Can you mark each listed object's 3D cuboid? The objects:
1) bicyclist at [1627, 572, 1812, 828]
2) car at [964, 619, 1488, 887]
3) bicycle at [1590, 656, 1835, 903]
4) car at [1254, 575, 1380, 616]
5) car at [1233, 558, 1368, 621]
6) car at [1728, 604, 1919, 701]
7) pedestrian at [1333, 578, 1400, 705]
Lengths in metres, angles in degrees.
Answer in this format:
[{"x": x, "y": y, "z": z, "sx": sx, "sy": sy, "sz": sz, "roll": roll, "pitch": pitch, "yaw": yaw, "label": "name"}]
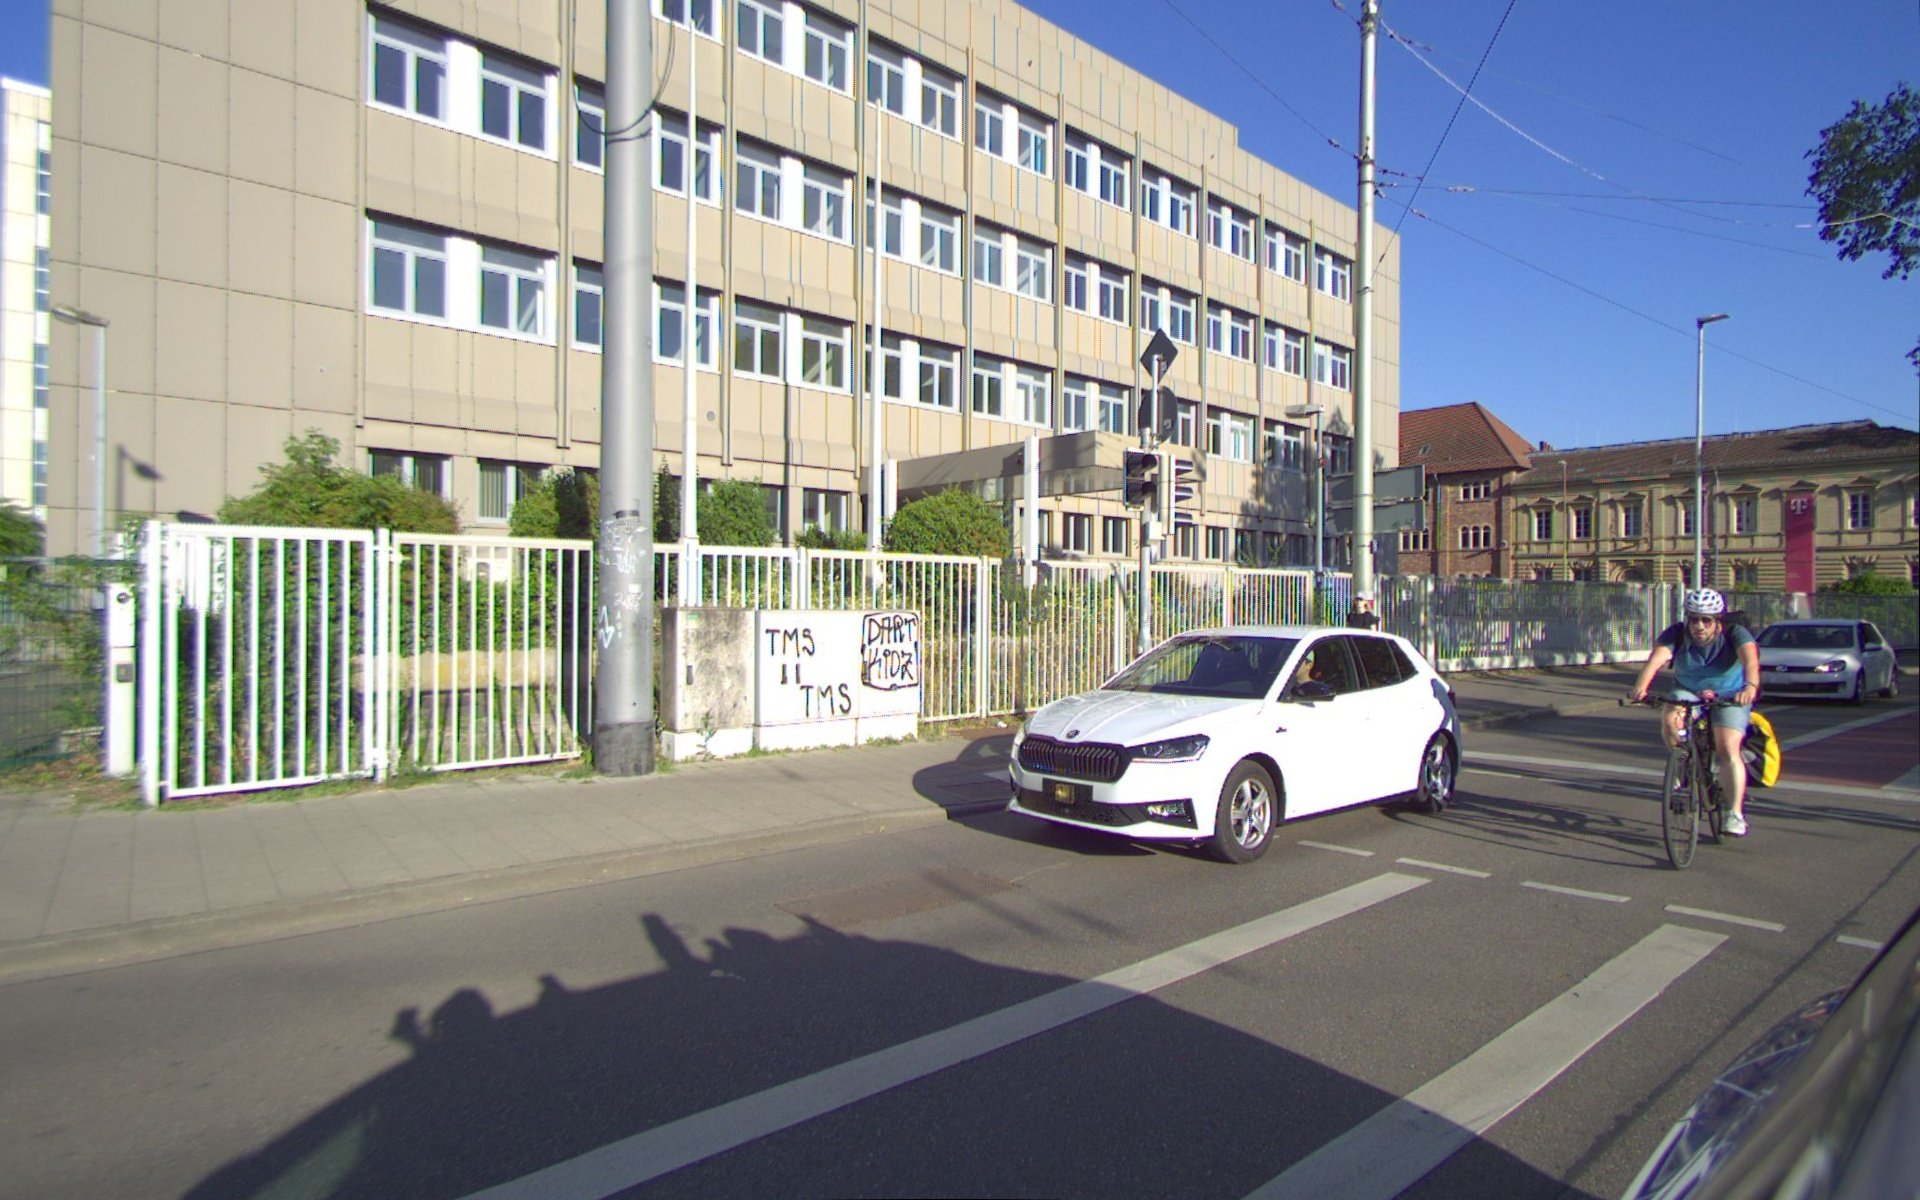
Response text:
[{"x": 4.710, "y": 0.569, "z": 6.277, "sx": 0.844, "sy": 1.440, "sz": 0.727, "roll": 0, "pitch": -2, "yaw": -41, "label": "bicyclist"}, {"x": 2.102, "y": 0.861, "z": 7.414, "sx": 4.002, "sy": 1.407, "sz": 1.704, "roll": 0, "pitch": -1, "yaw": -40, "label": "car"}, {"x": 4.706, "y": 0.982, "z": 6.256, "sx": 2.266, "sy": 1.159, "sz": 0.763, "roll": 0, "pitch": 0, "yaw": -41, "label": "bicycle"}, {"x": 14.766, "y": -0.185, "z": 42.024, "sx": 1.965, "sy": 1.601, "sz": 4.569, "roll": 0, "pitch": 0, "yaw": -41, "label": "car"}, {"x": 10.921, "y": -0.298, "z": 32.296, "sx": 4.701, "sy": 1.866, "sz": 1.997, "roll": 0, "pitch": 0, "yaw": -41, "label": "car"}, {"x": 15.499, "y": 0.873, "z": 18.072, "sx": 4.223, "sy": 1.522, "sz": 1.792, "roll": 0, "pitch": -3, "yaw": -38, "label": "car"}, {"x": 5.909, "y": 0.589, "z": 14.704, "sx": 0.756, "sy": 1.785, "sz": 0.592, "roll": 1, "pitch": -1, "yaw": -36, "label": "pedestrian"}]
